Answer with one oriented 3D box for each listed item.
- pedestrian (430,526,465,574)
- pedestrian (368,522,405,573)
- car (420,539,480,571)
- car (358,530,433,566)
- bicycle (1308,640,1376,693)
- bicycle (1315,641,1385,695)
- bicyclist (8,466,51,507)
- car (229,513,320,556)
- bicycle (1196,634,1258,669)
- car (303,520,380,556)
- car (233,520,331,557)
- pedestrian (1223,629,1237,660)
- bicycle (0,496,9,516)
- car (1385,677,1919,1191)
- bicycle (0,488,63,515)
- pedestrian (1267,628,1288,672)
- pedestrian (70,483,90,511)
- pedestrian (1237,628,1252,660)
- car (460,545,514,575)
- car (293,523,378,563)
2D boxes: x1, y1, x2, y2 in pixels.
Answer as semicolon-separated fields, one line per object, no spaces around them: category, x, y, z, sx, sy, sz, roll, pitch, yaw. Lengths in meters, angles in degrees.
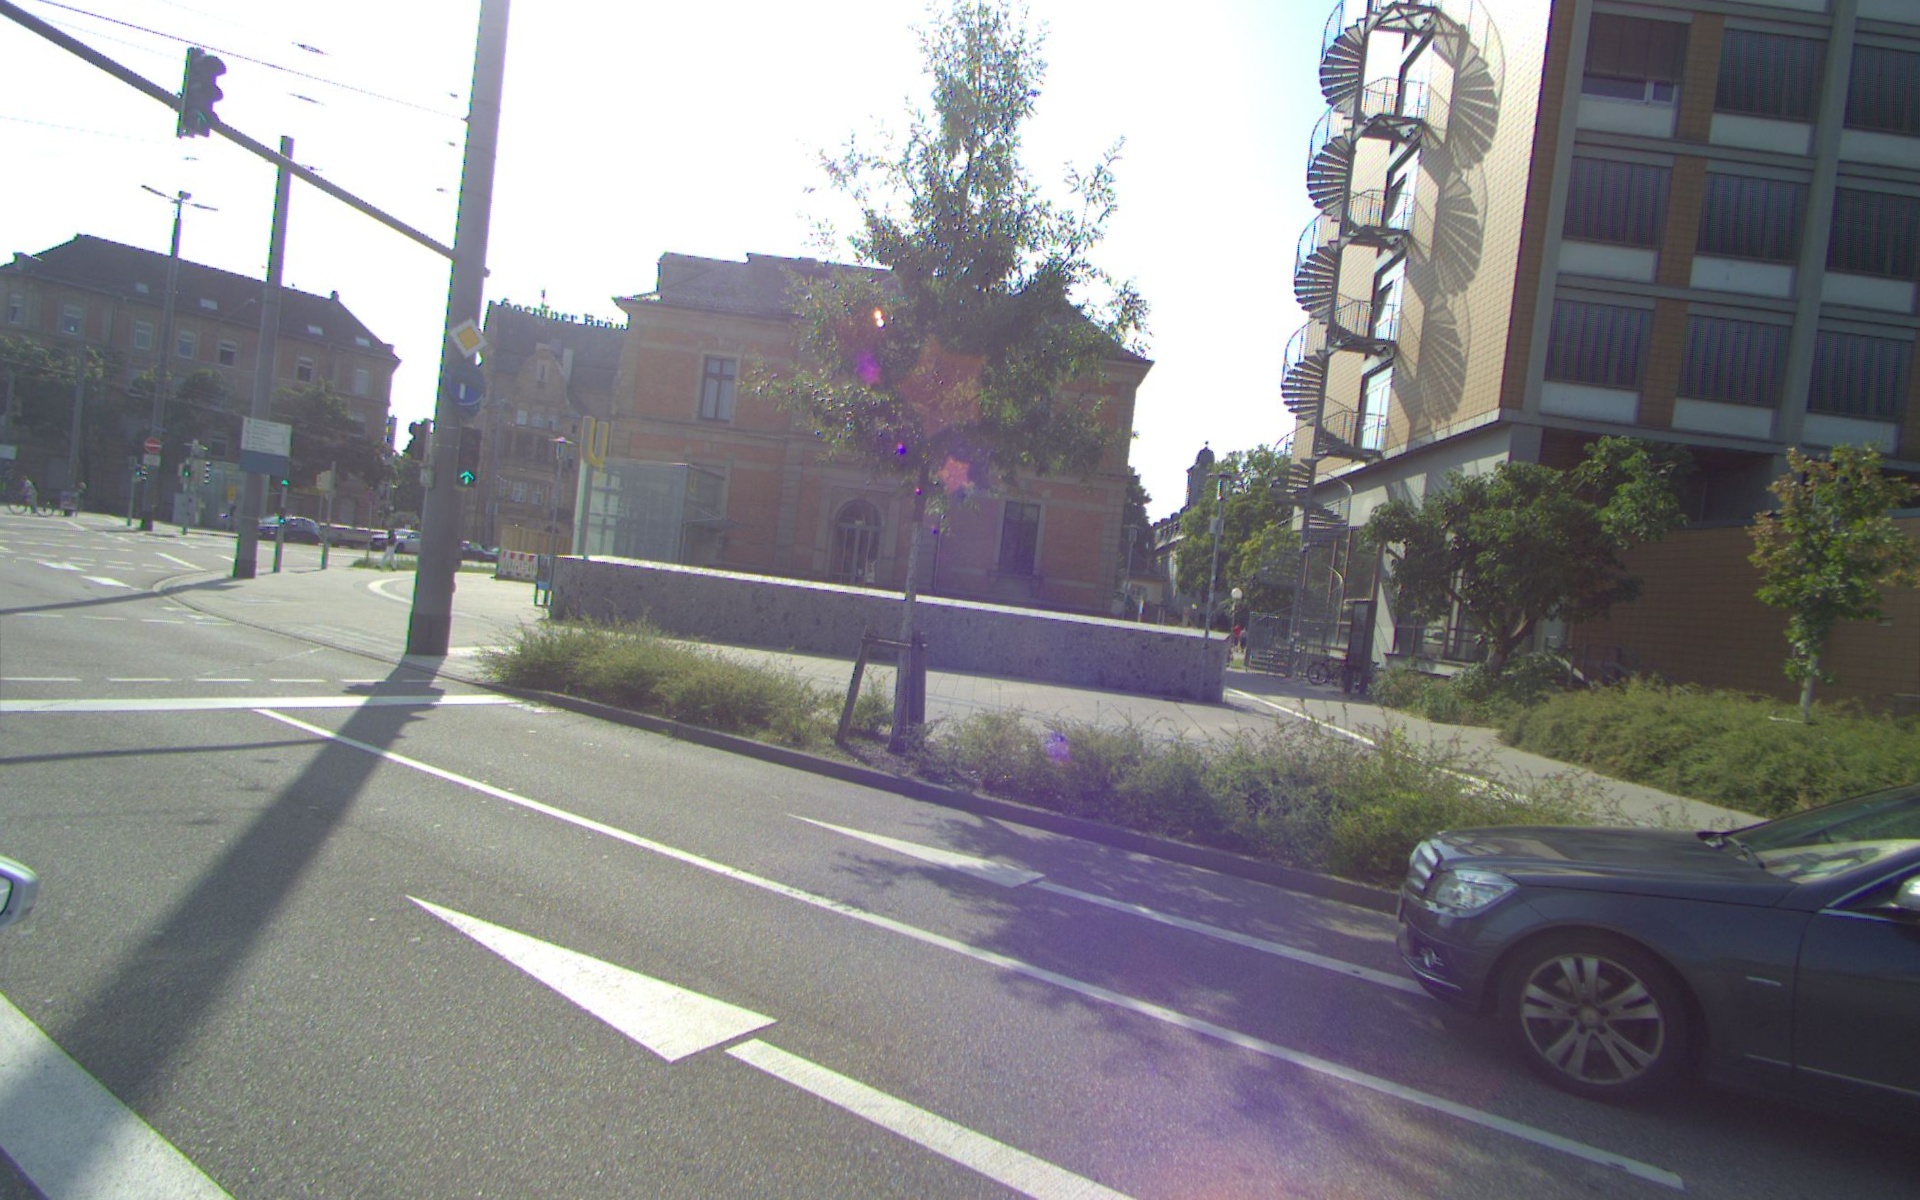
pedestrian;-19.590;-1.887;38.451;0.909;1.711;0.921;7;1;-20
pedestrian;-20.862;-1.914;36.615;0.910;1.711;0.833;7;1;-23
car;-37.260;-3.260;73.629;1.874;1.881;4.251;7;0;3
car;-37.495;-3.408;66.941;2.007;1.881;4.666;7;0;3
bicycle;12.264;2.130;32.333;1.781;1.451;0.608;7;1;3
bicycle;12.165;2.109;31.404;1.803;1.451;0.608;7;1;3
bicyclist;-45.413;-5.527;49.126;1.074;1.730;0.935;7;1;-7
car;-38.661;-3.675;56.871;1.874;1.881;4.251;7;0;3
bicycle;10.350;2.008;39.069;2.154;1.067;0.630;7;1;-2
car;-42.319;-4.201;68.942;1.895;1.881;4.276;7;0;12
car;-35.975;-3.237;53.504;1.986;1.414;4.389;7;0;3
pedestrian;16.949;2.776;63.139;0.624;1.890;0.674;7;1;11
bicycle;-50.724;-5.005;51.650;1.072;0.976;2.627;7;0;6
car;4.089;1.340;3.806;4.297;1.460;1.686;7;0;29
bicycle;-45.505;-4.831;49.172;1.074;0.976;2.623;7;0;-7
pedestrian;14.263;2.257;45.216;0.624;1.890;0.674;7;1;11
pedestrian;-51.339;-6.007;58.707;0.538;1.489;0.666;6;1;-14
pedestrian;17.572;2.722;62.166;0.624;1.890;0.674;7;1;11
car;-36.919;-3.130;78.705;1.874;1.881;4.251;7;0;3
car;-38.164;-3.435;61.622;1.874;1.881;4.711;7;0;5
